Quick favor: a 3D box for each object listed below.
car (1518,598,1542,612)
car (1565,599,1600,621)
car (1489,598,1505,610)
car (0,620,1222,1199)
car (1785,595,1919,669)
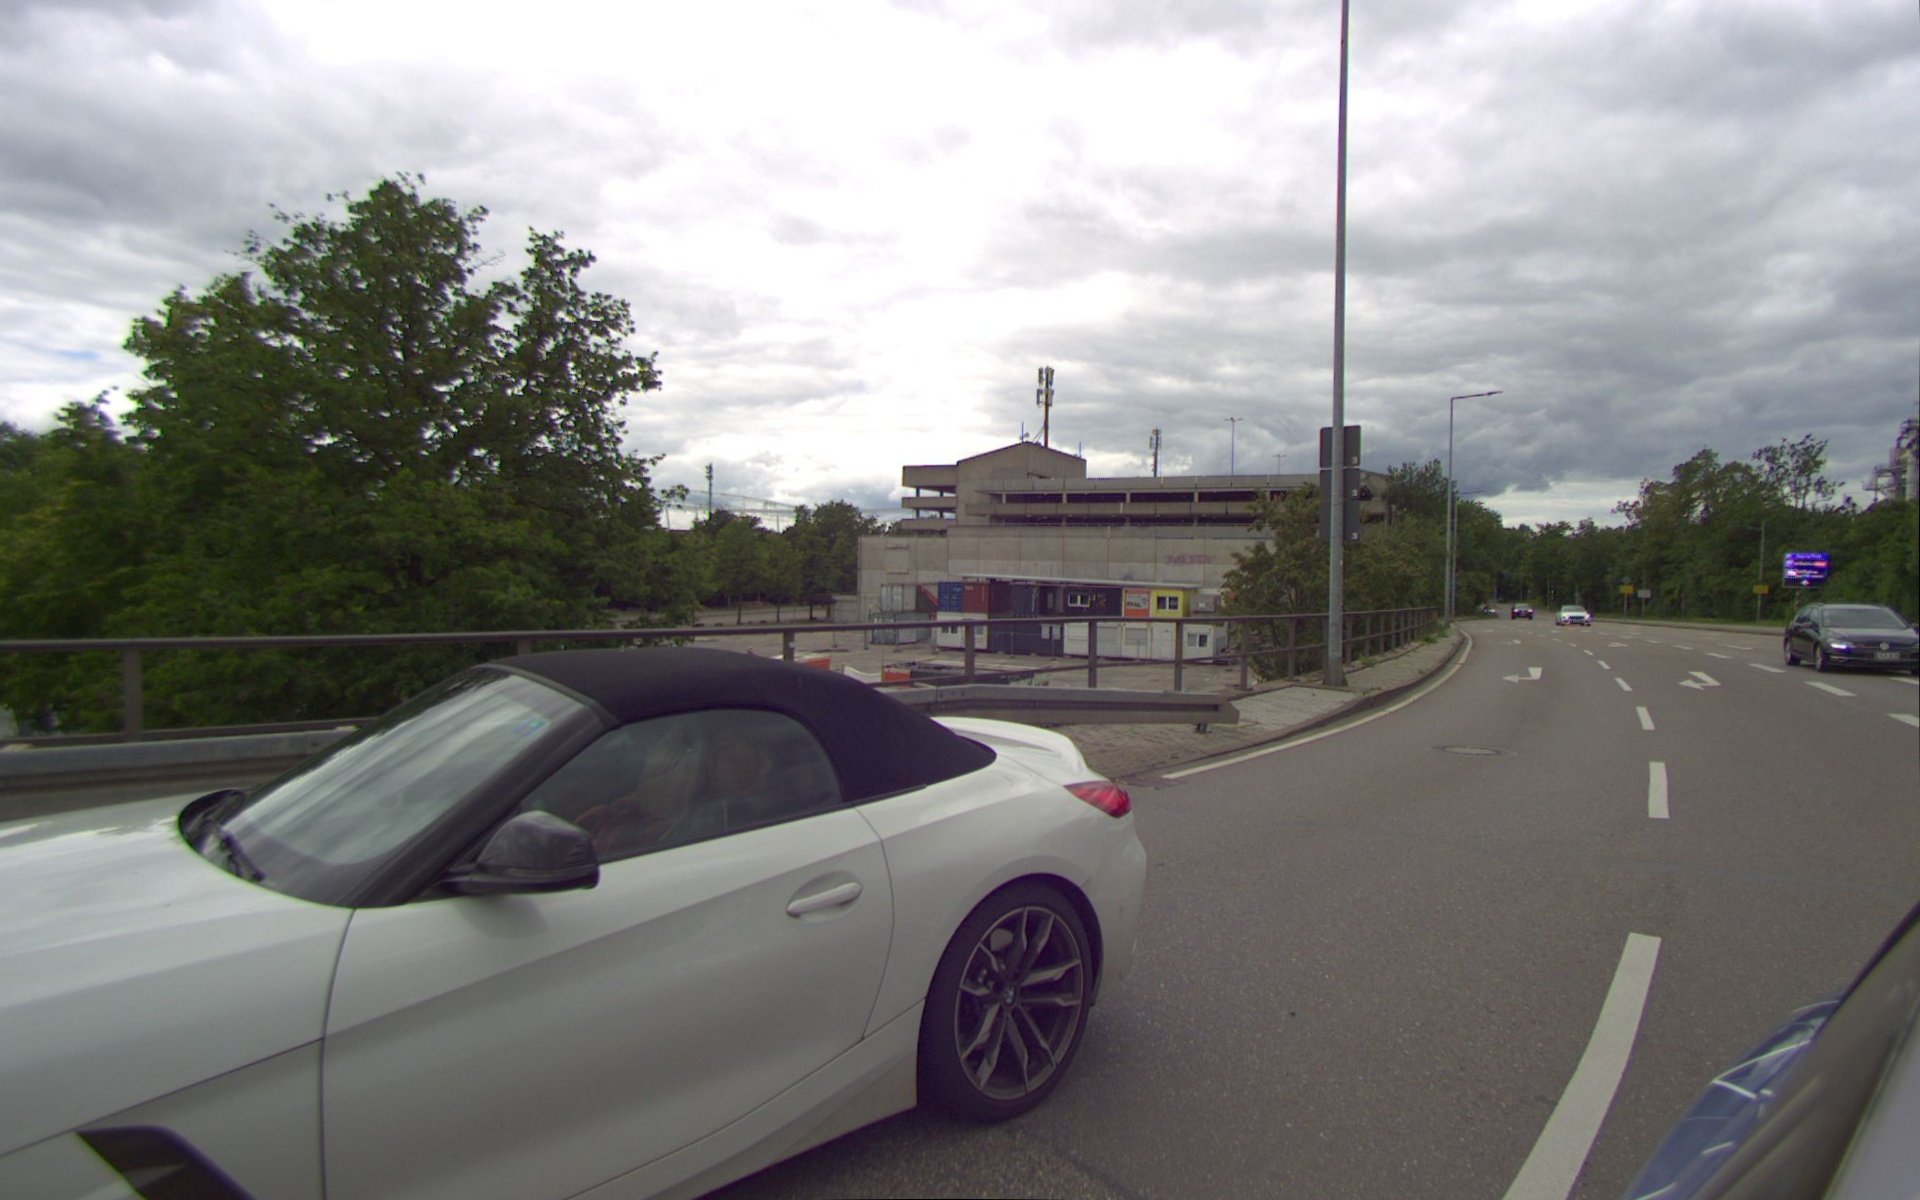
[{"bbox_3d":[60.417,0.517,107.317,1.847,1.434,4.300,0,0,26],"label":"car"},{"bbox_3d":[43.815,0.668,71.321,1.849,1.434,4.295,0,0,28],"label":"car"},{"bbox_3d":[87.458,0.673,164.852,1.977,1.728,3.968,-3,-2,23],"label":"car"},{"bbox_3d":[-1.276,0.769,2.768,4.188,1.308,1.808,-1,0,-41],"label":"car"},{"bbox_3d":[19.478,0.614,21.843,1.849,1.434,4.294,0,0,29],"label":"car"}]
